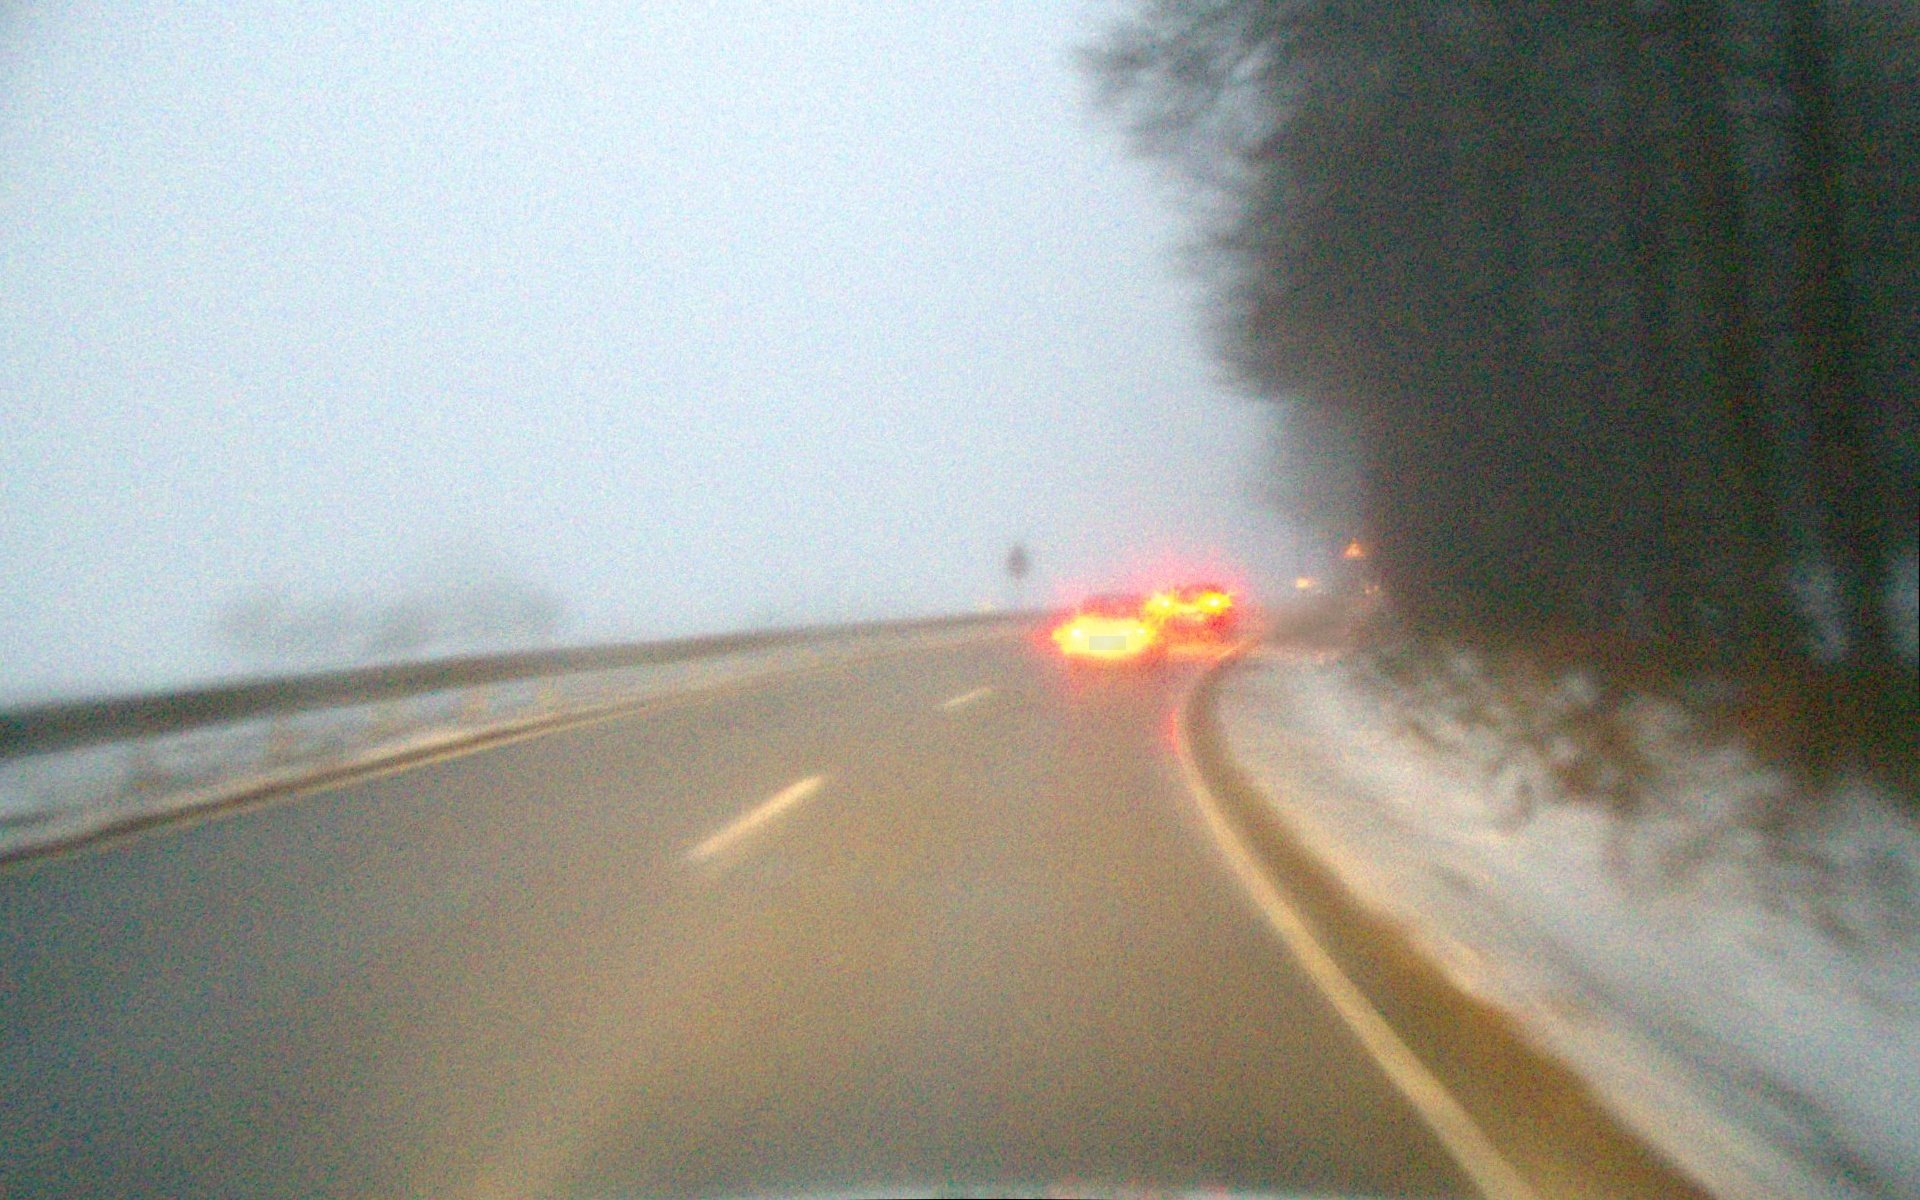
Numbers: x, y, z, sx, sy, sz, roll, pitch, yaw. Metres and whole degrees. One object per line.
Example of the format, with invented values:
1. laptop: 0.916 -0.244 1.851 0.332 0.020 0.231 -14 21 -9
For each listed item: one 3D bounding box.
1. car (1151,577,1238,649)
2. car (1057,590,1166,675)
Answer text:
1. car: 6.313 0.300 44.224 1.951 1.814 4.004 -1 1 13
2. car: 3.023 0.591 32.304 1.904 1.405 4.004 -2 1 7
